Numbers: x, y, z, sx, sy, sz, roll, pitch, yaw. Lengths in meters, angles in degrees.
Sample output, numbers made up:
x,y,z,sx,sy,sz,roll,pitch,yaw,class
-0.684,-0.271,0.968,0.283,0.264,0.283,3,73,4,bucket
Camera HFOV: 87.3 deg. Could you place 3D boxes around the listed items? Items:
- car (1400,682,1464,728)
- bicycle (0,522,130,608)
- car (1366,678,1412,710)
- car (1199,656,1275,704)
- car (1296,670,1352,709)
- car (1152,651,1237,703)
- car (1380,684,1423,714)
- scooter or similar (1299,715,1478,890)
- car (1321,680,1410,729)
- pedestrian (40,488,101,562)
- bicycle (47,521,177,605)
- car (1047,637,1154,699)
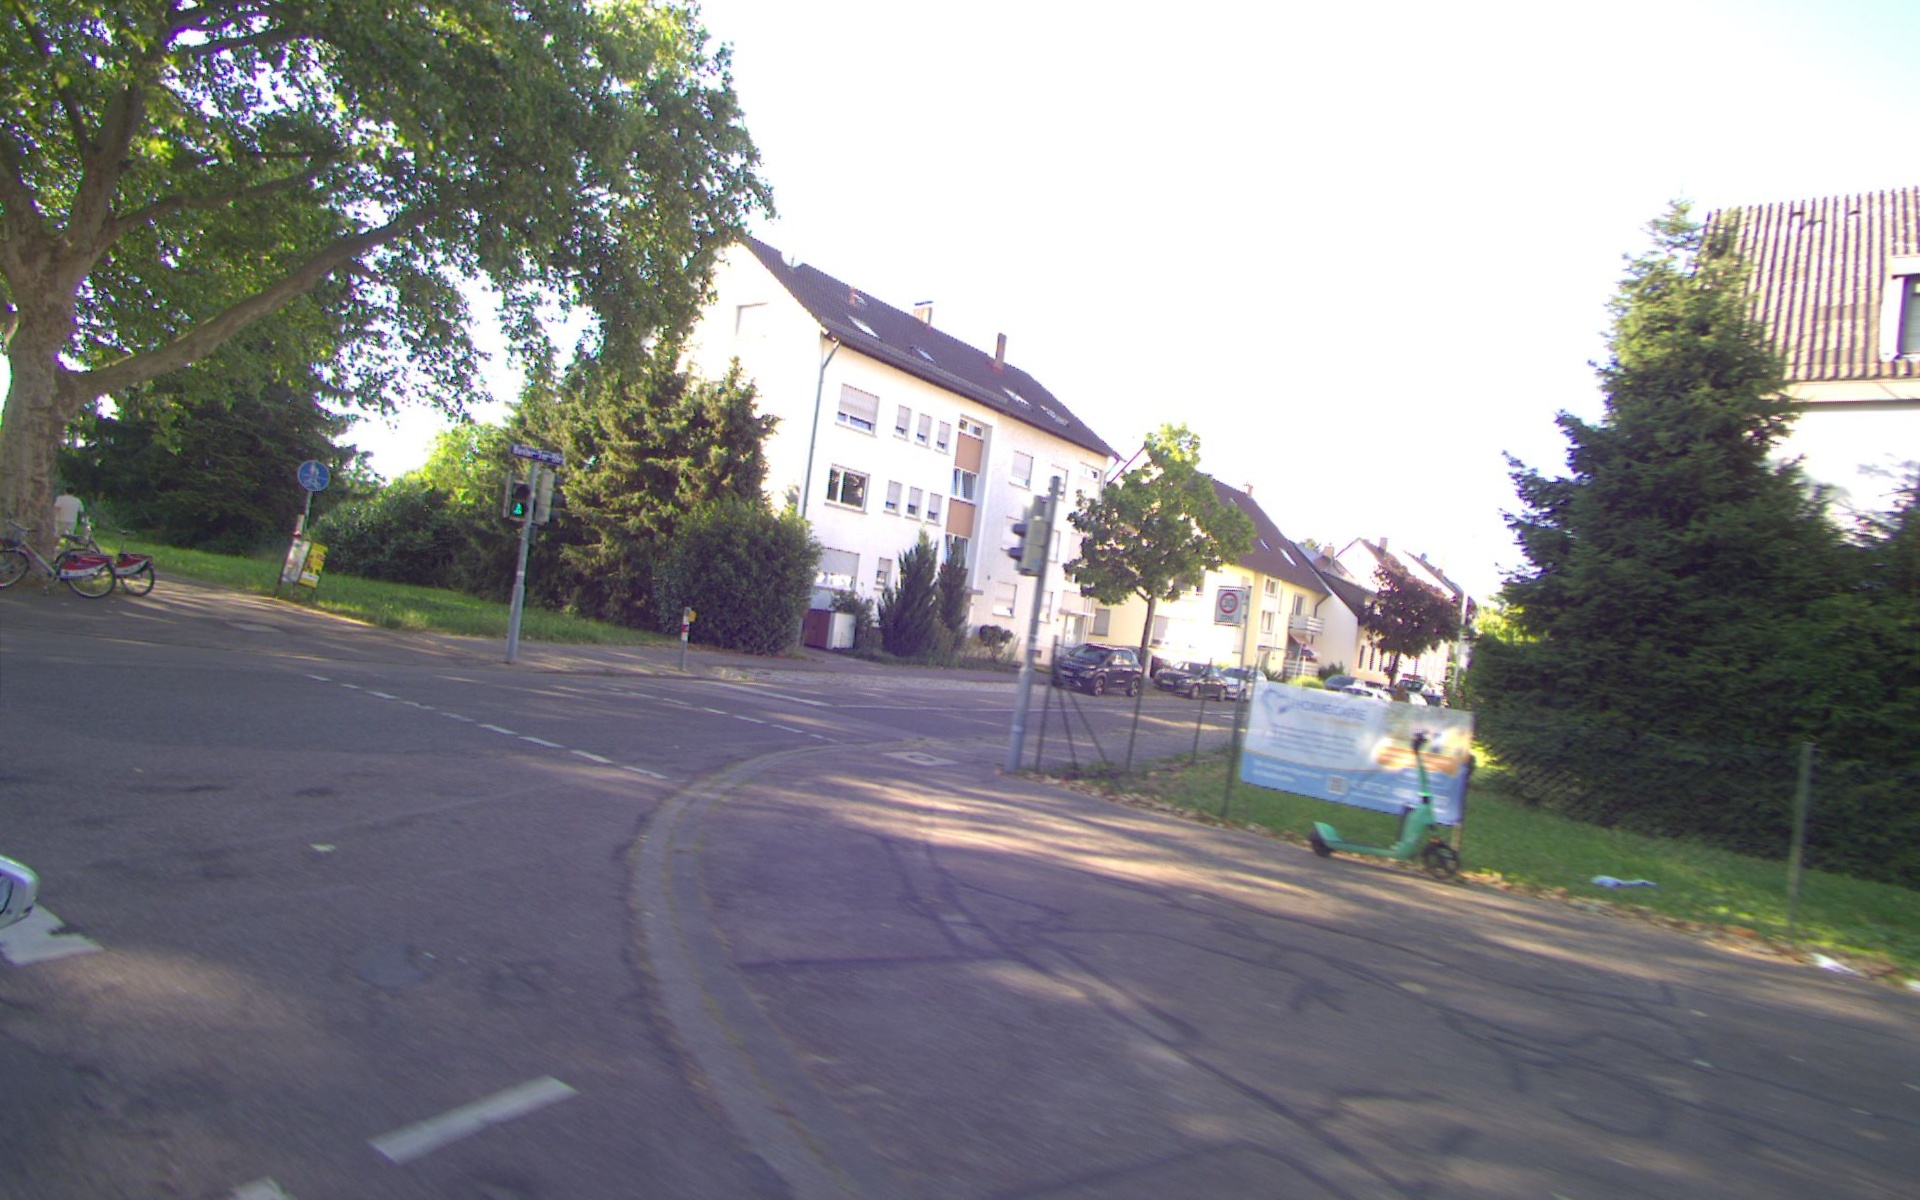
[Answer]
x,y,z,sx,sy,sz,roll,pitch,yaw,class
20.480,4.580,43.594,1.642,1.528,3.556,7,-3,38,car
-13.612,-0.533,15.045,1.698,1.048,0.444,8,2,-23,bicycle
25.166,5.537,58.975,1.674,1.614,3.583,7,-1,35,car
12.092,3.509,43.828,1.838,1.614,3.750,11,1,35,car
19.088,4.709,52.735,1.673,1.614,3.583,11,1,35,car
9.405,3.093,40.122,1.838,1.614,3.750,11,1,35,car
27.789,6.227,63.289,1.674,1.614,3.583,7,-1,35,car
3.652,1.690,8.601,1.234,1.210,0.383,8,-1,30,scooter or similar
14.995,3.885,37.154,1.808,1.410,3.548,8,0,42,car
-22.154,-1.869,25.060,0.923,1.670,0.780,7,0,32,pedestrian
-13.850,-0.601,16.434,1.970,1.097,0.446,9,2,12,bicycle
4.783,2.333,33.865,1.838,1.614,3.750,11,1,35,car
